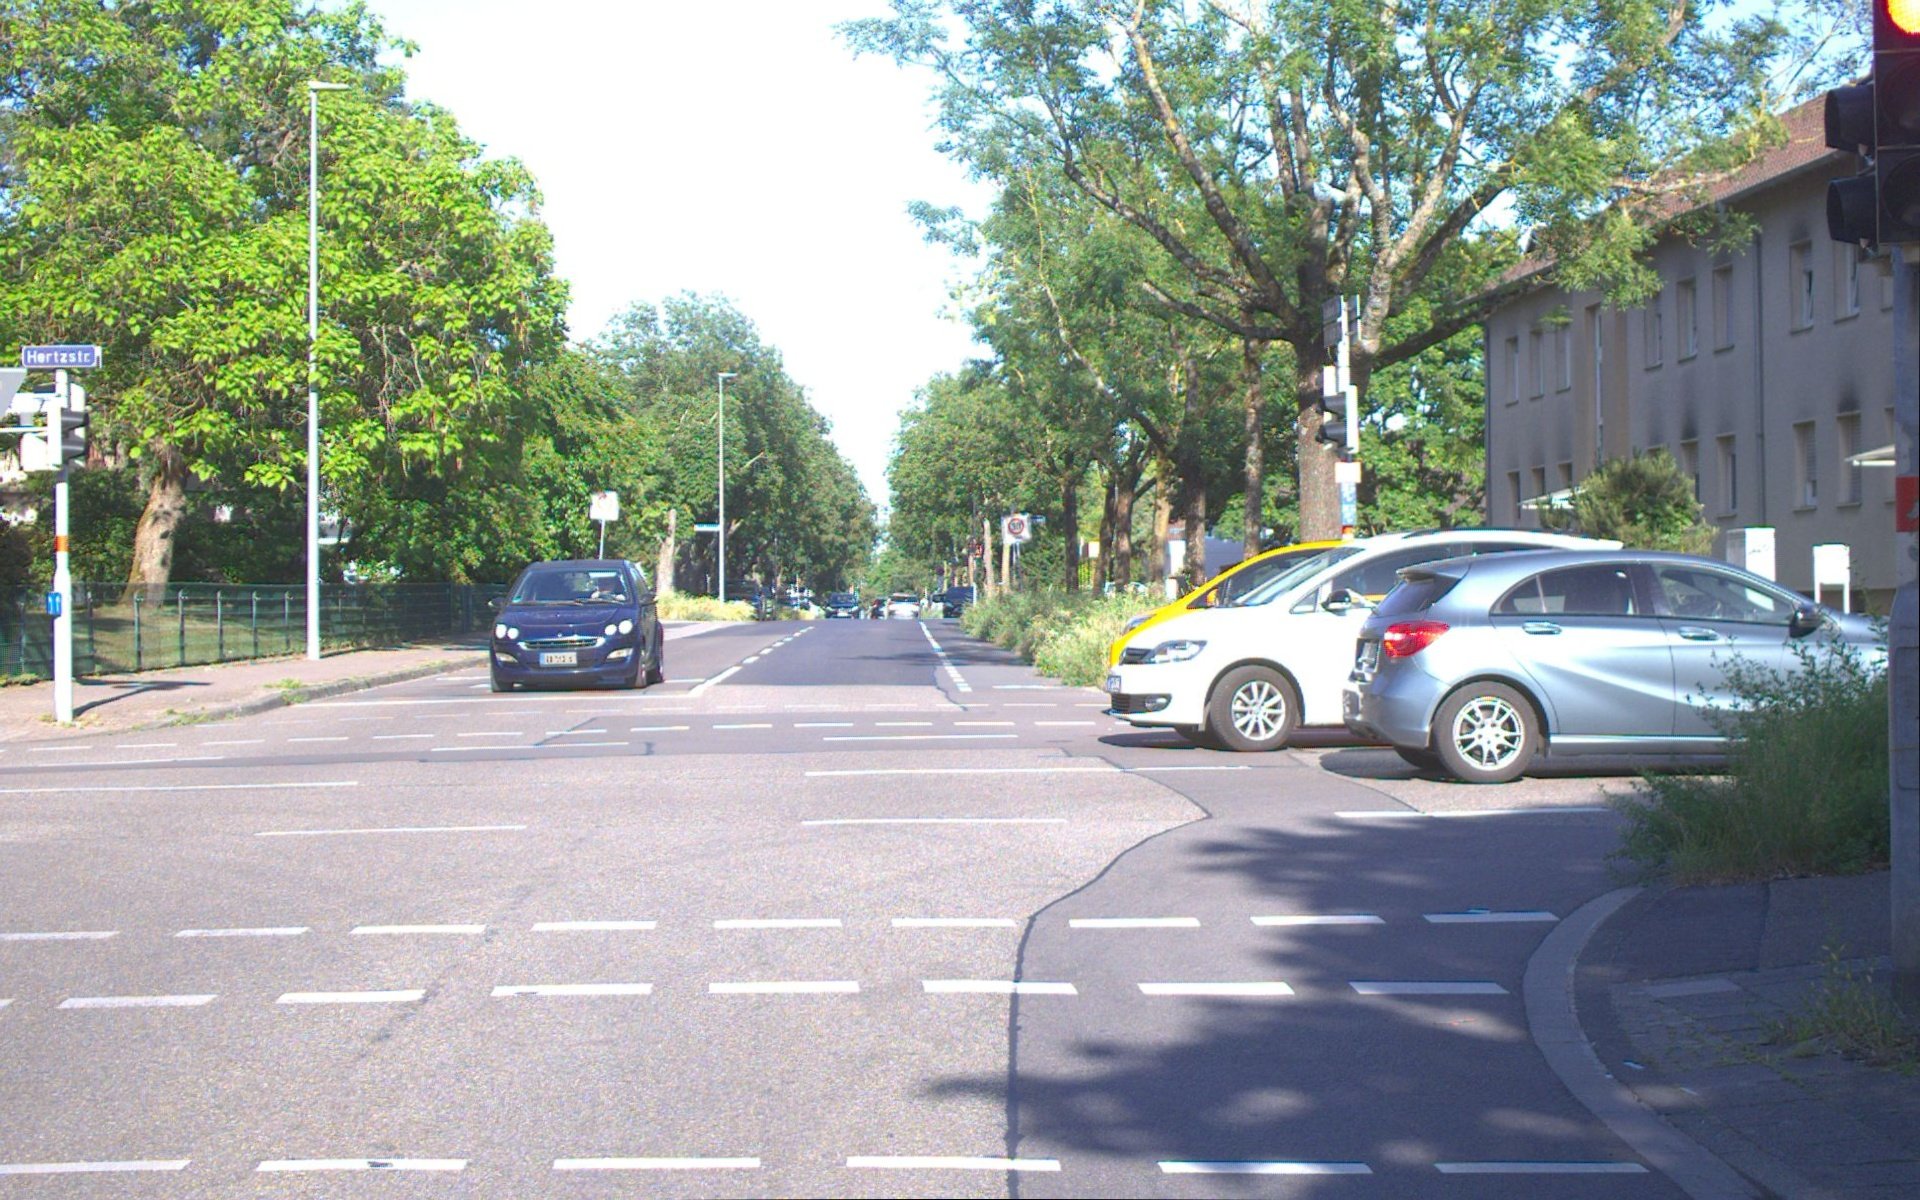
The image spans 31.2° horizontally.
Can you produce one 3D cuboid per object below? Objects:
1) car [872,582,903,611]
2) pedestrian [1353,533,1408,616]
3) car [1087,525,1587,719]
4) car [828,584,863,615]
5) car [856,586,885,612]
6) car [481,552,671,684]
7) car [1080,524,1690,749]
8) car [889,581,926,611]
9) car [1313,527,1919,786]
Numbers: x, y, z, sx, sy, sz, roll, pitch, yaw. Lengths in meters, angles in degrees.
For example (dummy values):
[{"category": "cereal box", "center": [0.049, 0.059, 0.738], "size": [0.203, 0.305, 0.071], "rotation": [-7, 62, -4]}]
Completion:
[{"category": "car", "center": [-4.293, -0.205, 203.705], "size": [1.758, 1.619, 3.268], "rotation": [0, 1, 0]}, {"category": "pedestrian", "center": [7.691, -0.477, 62.933], "size": [0.842, 1.488, 0.924], "rotation": [2, 1, -1]}, {"category": "car", "center": [3.301, 0.163, 30.088], "size": [3.992, 1.577, 1.755], "rotation": [1, 0, 23]}, {"category": "car", "center": [-6.175, -0.023, 185.296], "size": [1.758, 1.619, 3.268], "rotation": [0, 1, 0]}, {"category": "car", "center": [-5.840, -0.093, 224.721], "size": [1.758, 1.619, 3.268], "rotation": [0, 1, 0]}, {"category": "car", "center": [-4.268, 0.167, 38.633], "size": [1.711, 1.381, 3.471], "rotation": [0, 1, 0]}, {"category": "car", "center": [3.075, 0.262, 25.266], "size": [4.105, 1.558, 1.758], "rotation": [1, 0, -8]}, {"category": "car", "center": [-2.648, -0.218, 174.369], "size": [1.844, 1.456, 3.530], "rotation": [0, 1, -1]}, {"category": "car", "center": [4.520, 0.316, 21.804], "size": [4.282, 1.484, 1.914], "rotation": [-1, 1, -2]}]
